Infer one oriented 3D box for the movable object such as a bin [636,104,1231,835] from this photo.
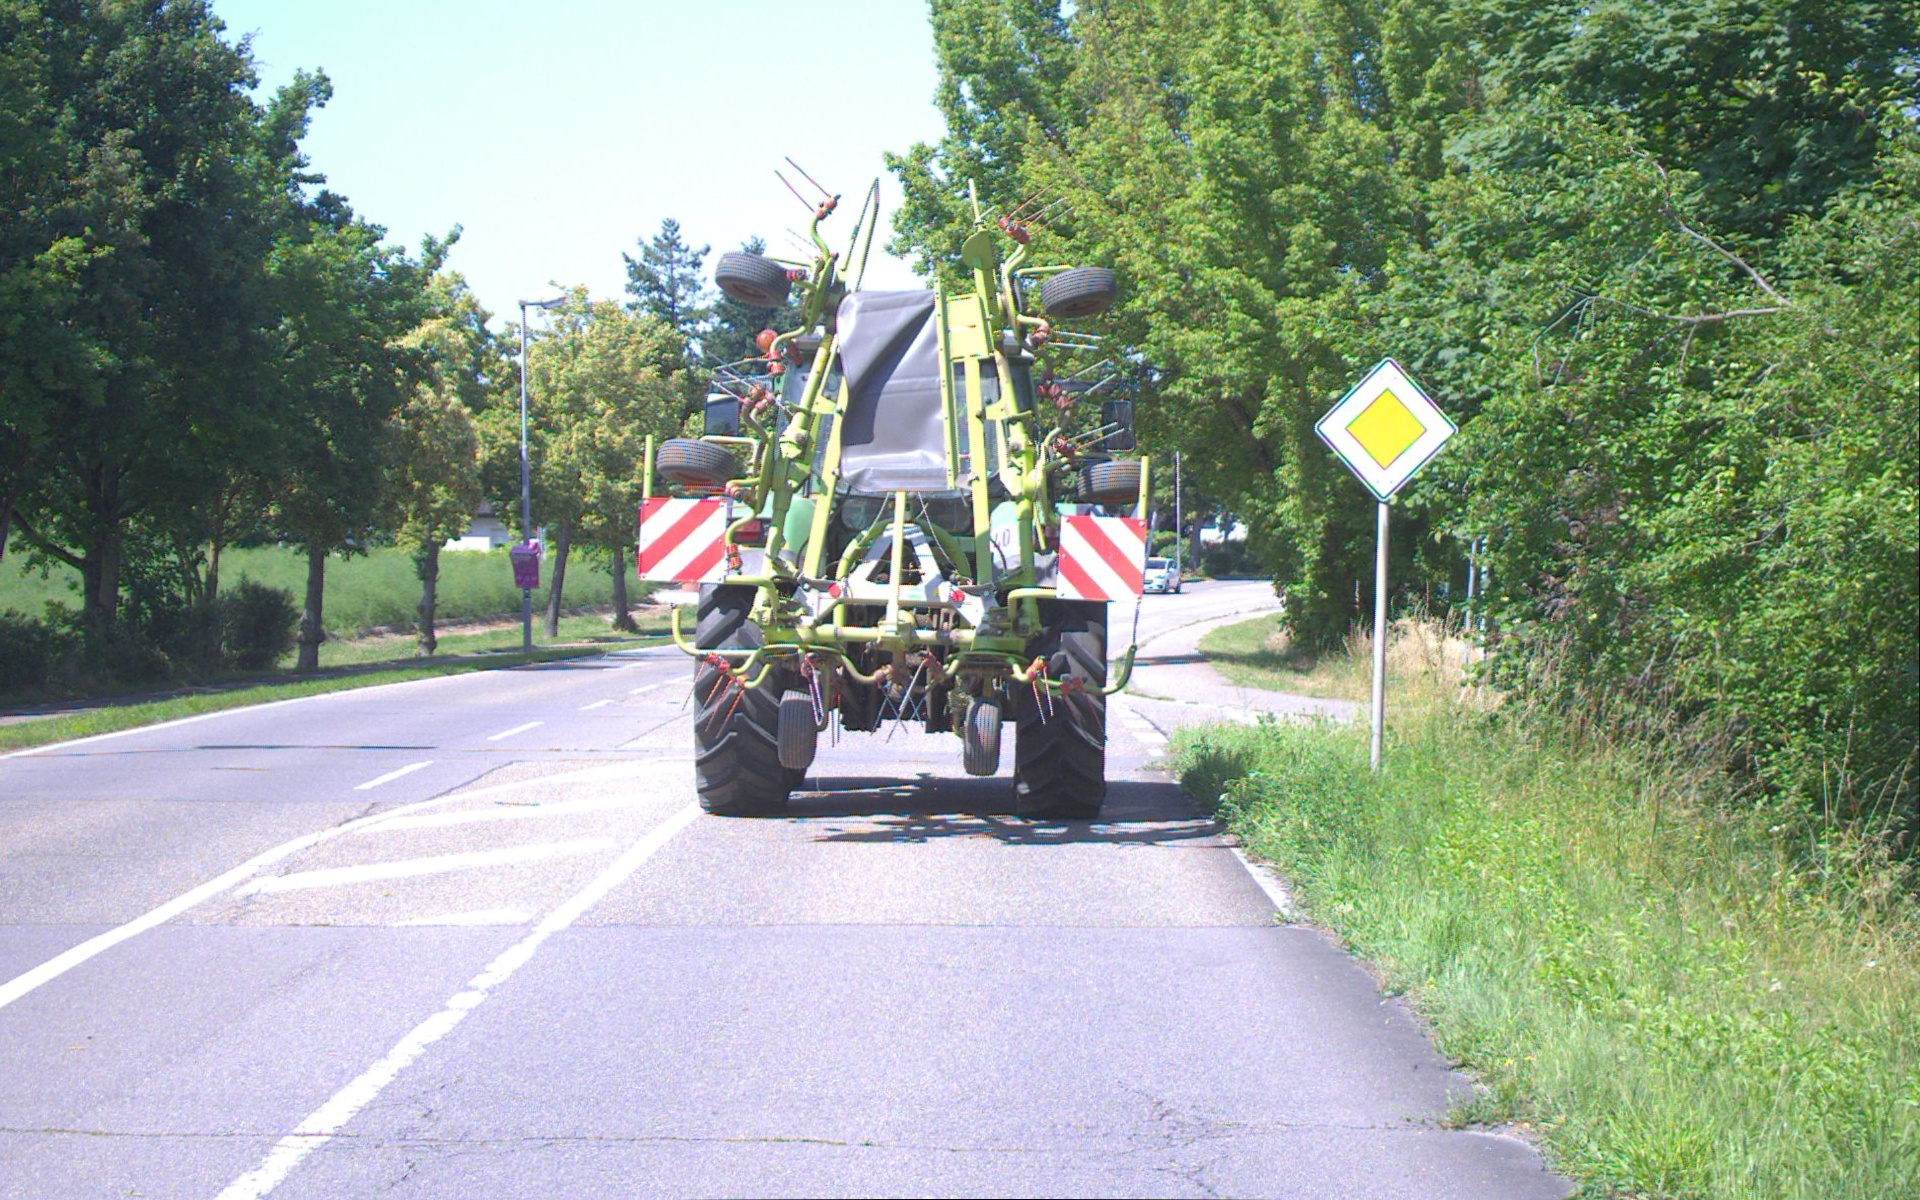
[{"bbox_3d":[-0.243,-0.746,21.686,2.852,3.529,9.702,1,1,-1],"label":"movable object such as a bin"}]
